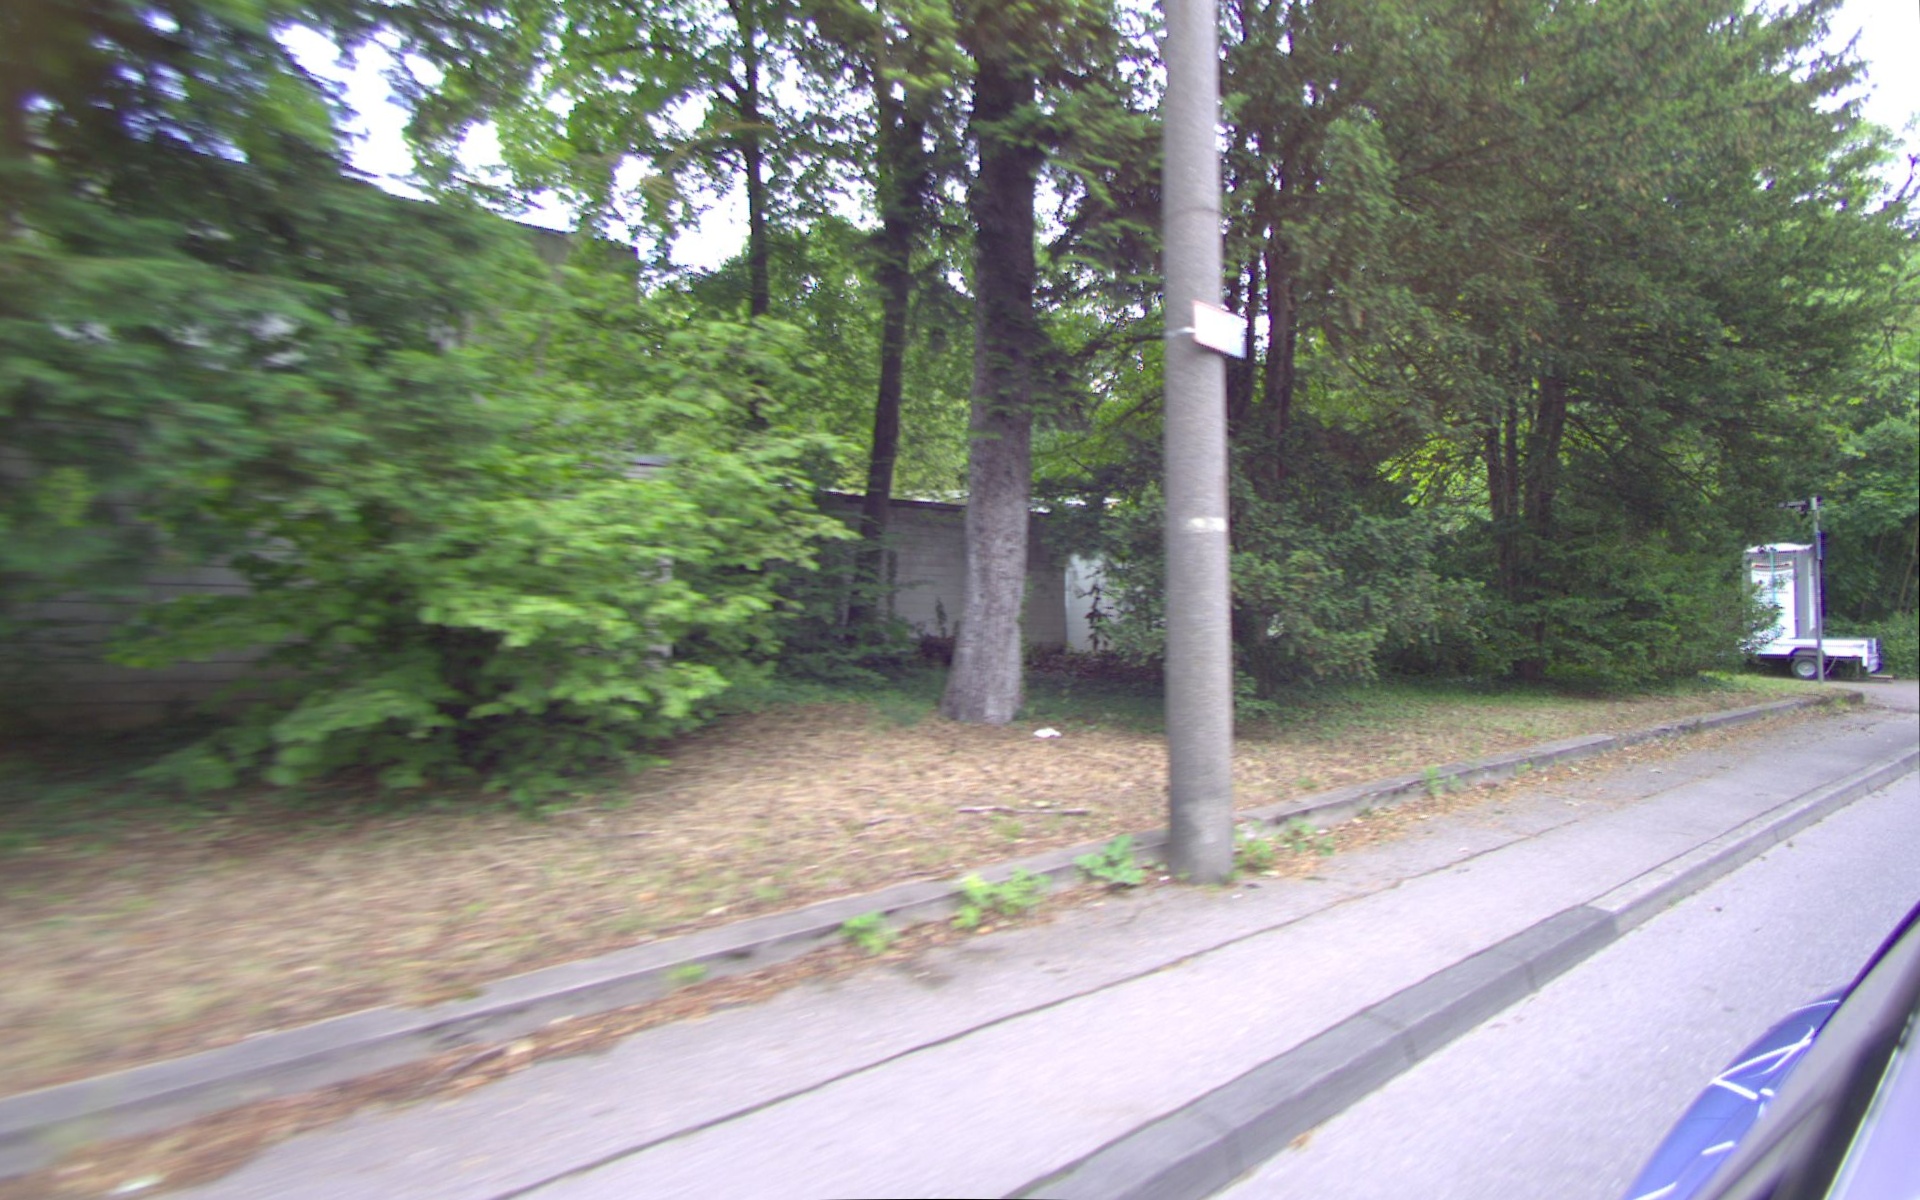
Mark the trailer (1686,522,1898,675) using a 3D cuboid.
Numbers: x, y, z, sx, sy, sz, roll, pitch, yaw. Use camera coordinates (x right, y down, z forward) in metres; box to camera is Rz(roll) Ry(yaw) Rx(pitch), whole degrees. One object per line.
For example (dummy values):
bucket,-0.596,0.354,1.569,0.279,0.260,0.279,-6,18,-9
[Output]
trailer,17.237,-0.036,21.059,1.563,2.936,3.124,0,0,-37
